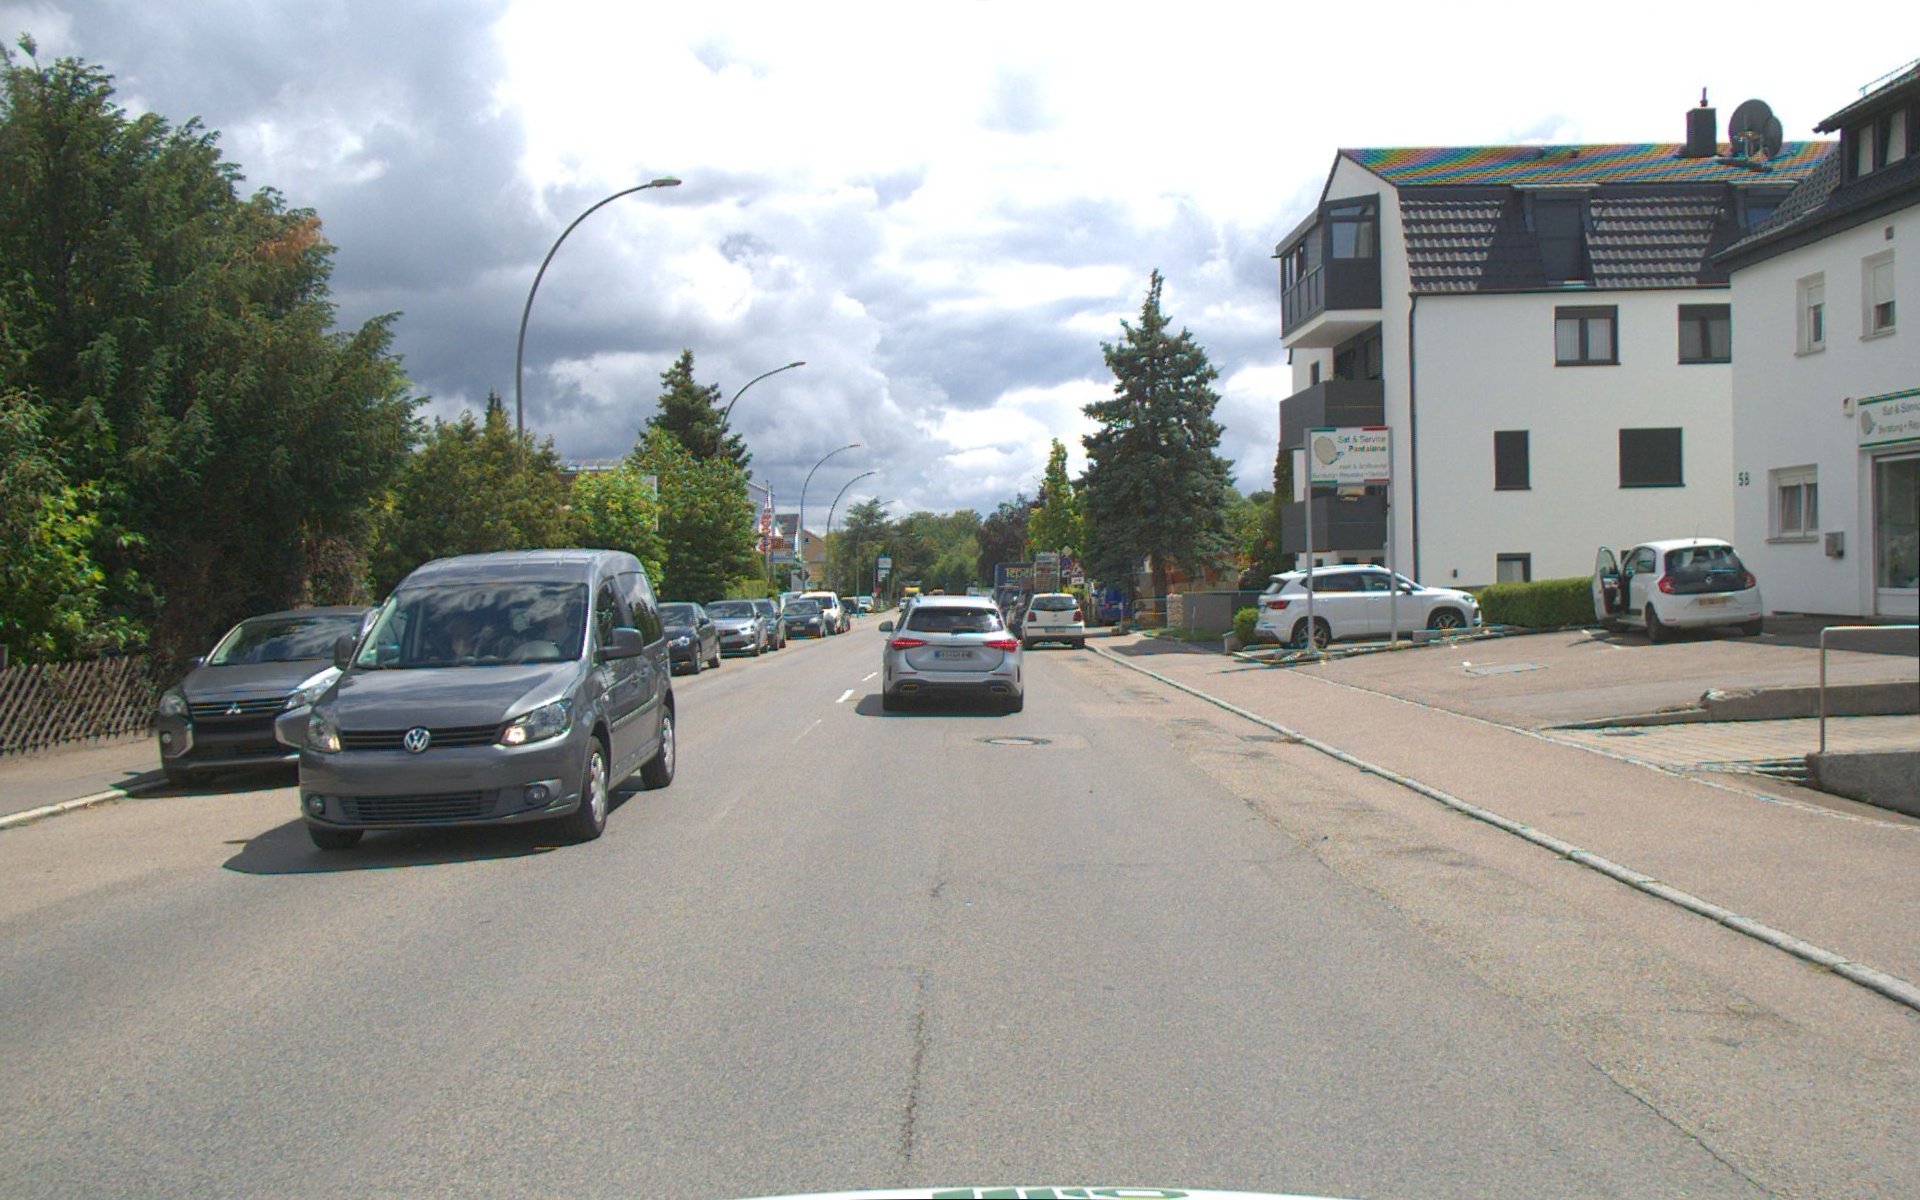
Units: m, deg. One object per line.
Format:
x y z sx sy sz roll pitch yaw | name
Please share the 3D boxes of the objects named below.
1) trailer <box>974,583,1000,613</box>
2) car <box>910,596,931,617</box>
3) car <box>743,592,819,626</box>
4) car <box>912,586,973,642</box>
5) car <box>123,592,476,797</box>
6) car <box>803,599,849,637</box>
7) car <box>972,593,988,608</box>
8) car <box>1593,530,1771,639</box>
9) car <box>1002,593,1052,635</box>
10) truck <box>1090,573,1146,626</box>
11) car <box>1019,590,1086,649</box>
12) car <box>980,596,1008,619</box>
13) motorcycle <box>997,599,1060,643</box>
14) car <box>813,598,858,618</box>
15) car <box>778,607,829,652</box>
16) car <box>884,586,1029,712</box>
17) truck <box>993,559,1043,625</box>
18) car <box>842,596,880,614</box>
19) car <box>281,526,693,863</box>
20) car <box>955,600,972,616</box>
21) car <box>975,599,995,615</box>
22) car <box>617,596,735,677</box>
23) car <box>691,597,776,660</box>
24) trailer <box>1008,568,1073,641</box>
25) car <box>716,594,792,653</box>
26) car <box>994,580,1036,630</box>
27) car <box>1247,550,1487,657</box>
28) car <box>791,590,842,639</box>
2.185 -0.157 133.608 1.902 2.334 4.444 -2 0 -1 | trailer
-3.363 0.536 140.229 1.708 1.656 4.355 -1 0 -1 | car
-11.112 0.551 102.781 4.559 2.006 2.114 -1 0 -4 | car
-0.558 0.397 49.627 1.720 1.585 3.998 -1 0 -2 | car
-5.950 0.759 15.434 1.629 1.537 3.944 -4 0 0 | car
-6.029 0.771 74.802 1.708 1.497 4.643 -4 0 -1 | car
2.754 0.023 228.209 2.100 2.018 5.261 -2 0 0 | car
11.720 -0.298 27.076 1.597 1.545 3.668 -4 1 7 | car
2.607 0.531 64.967 1.737 1.534 4.000 -2 0 0 | car
7.089 -0.061 74.832 1.792 2.117 5.385 -4 2 -1 | truck
2.503 0.501 45.558 1.684 1.457 3.985 -3 0 2 | car
2.532 0.525 122.458 1.901 1.599 4.447 -2 0 2 | car
2.027 0.625 48.997 1.802 1.231 0.708 -2 0 -36 | motorcycle
-12.803 0.804 170.152 4.536 1.661 2.196 -4 1 -4 | car
-6.013 1.097 63.894 1.607 1.512 3.999 -4 0 -1 | car
-0.110 0.583 22.117 1.748 1.510 4.315 0 0 -2 | car
2.822 -0.398 82.013 2.273 3.151 6.042 1 0 0 | truck
-11.191 0.572 187.457 4.193 1.868 1.990 -2 -3 -1 | car
-3.008 0.512 11.474 1.629 1.827 4.337 -2 0 -1 | car
0.375 0.832 170.363 1.720 1.585 3.999 -1 0 -1 | car
2.589 0.711 169.480 1.756 1.475 4.361 -2 0 -2 | car
-5.719 0.693 33.796 1.629 1.439 4.338 -3 0 0 | car
-5.851 0.696 43.081 1.685 1.457 4.198 -3 0 -2 | car
2.502 0.123 52.163 1.737 2.182 4.113 -2 0 -1 | trailer
-5.924 0.638 47.971 1.685 1.519 4.734 -2 0 -2 | car
2.522 0.214 76.527 1.835 2.207 4.464 1 0 0 | car
7.837 0.057 32.116 4.108 1.682 1.867 -5 0 -1 | car
-6.018 0.564 69.697 1.708 1.870 4.354 -4 0 -1 | car
